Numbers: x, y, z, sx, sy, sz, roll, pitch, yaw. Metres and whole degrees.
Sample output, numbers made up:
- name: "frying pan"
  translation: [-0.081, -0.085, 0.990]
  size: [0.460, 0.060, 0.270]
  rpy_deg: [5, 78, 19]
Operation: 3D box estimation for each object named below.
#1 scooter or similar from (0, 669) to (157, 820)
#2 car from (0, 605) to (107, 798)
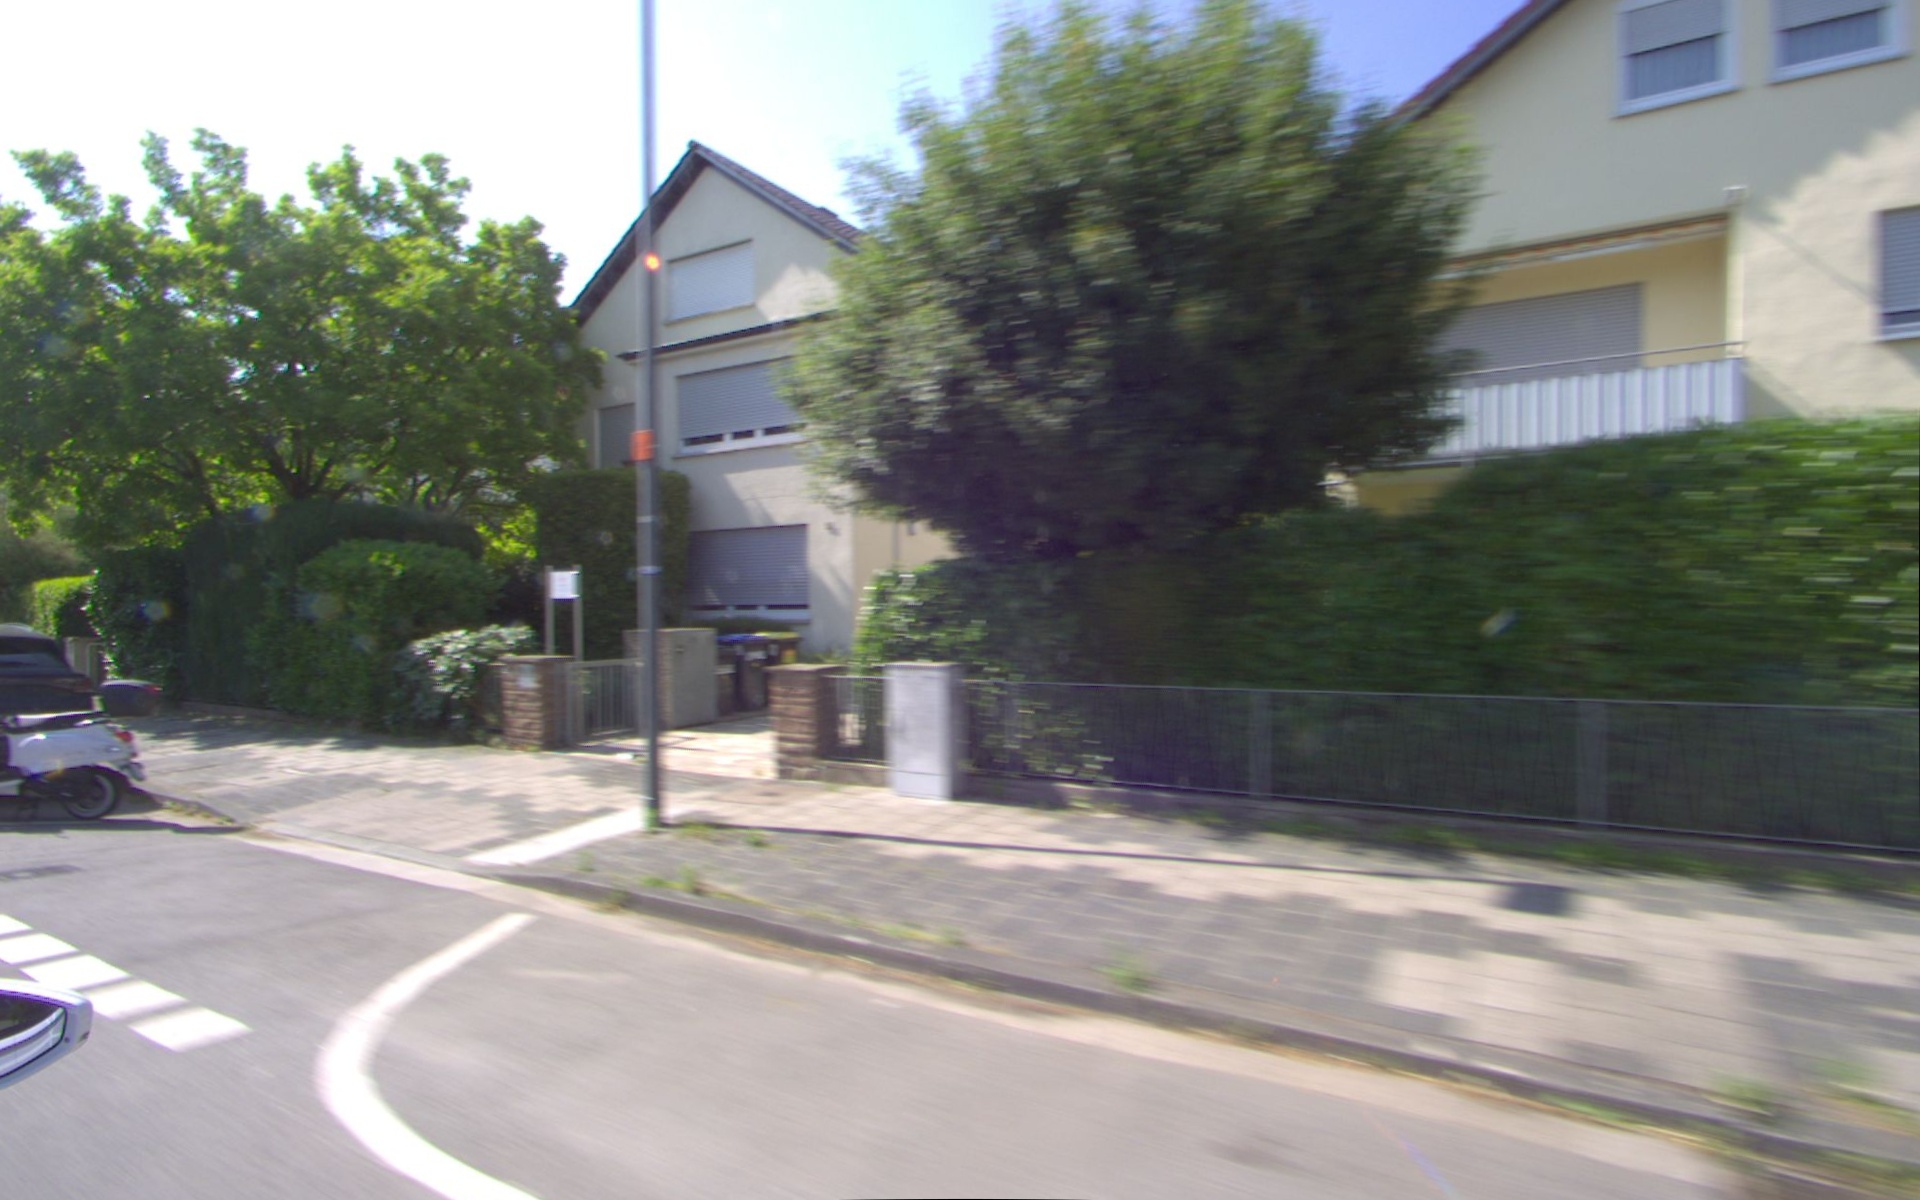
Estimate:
- name: "scooter or similar"
  translation: [-7.819, 1.154, 8.180]
  size: [1.765, 1.168, 0.719]
  rpy_deg: [2, -3, -15]
- name: "car"
  translation: [-10.179, 0.903, 9.727]
  size: [4.409, 1.659, 1.781]
  rpy_deg: [-1, -2, 34]
